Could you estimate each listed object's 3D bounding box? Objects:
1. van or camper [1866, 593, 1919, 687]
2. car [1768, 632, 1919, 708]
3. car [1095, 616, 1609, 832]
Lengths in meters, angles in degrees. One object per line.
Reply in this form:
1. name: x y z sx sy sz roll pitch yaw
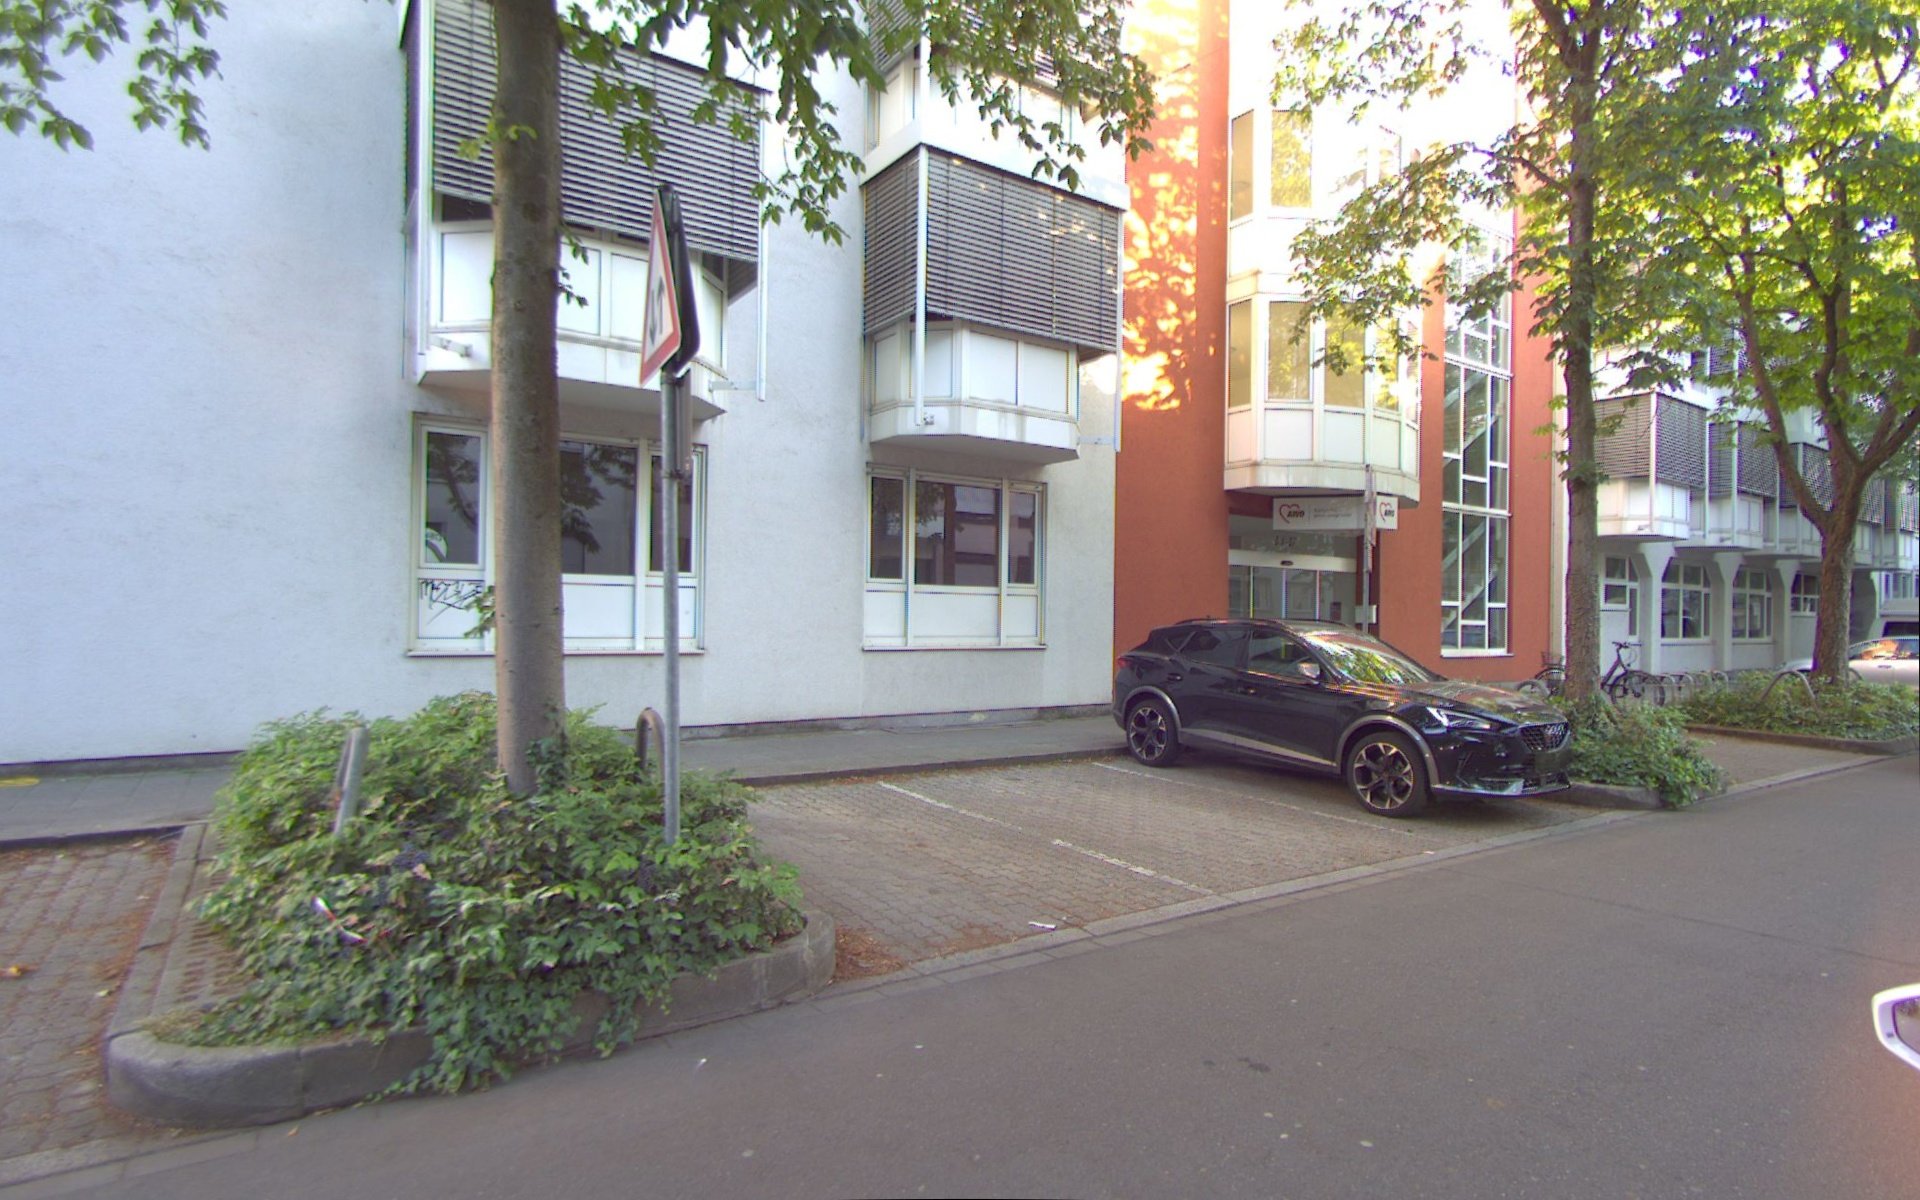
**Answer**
1. van or camper: 27.037 1.077 26.274 1.980 2.511 4.634 1 -1 -34
2. car: 20.168 1.484 21.667 1.766 1.537 3.945 1 -1 -33
3. car: 3.385 0.938 9.516 1.767 1.537 4.328 1 -1 -34
